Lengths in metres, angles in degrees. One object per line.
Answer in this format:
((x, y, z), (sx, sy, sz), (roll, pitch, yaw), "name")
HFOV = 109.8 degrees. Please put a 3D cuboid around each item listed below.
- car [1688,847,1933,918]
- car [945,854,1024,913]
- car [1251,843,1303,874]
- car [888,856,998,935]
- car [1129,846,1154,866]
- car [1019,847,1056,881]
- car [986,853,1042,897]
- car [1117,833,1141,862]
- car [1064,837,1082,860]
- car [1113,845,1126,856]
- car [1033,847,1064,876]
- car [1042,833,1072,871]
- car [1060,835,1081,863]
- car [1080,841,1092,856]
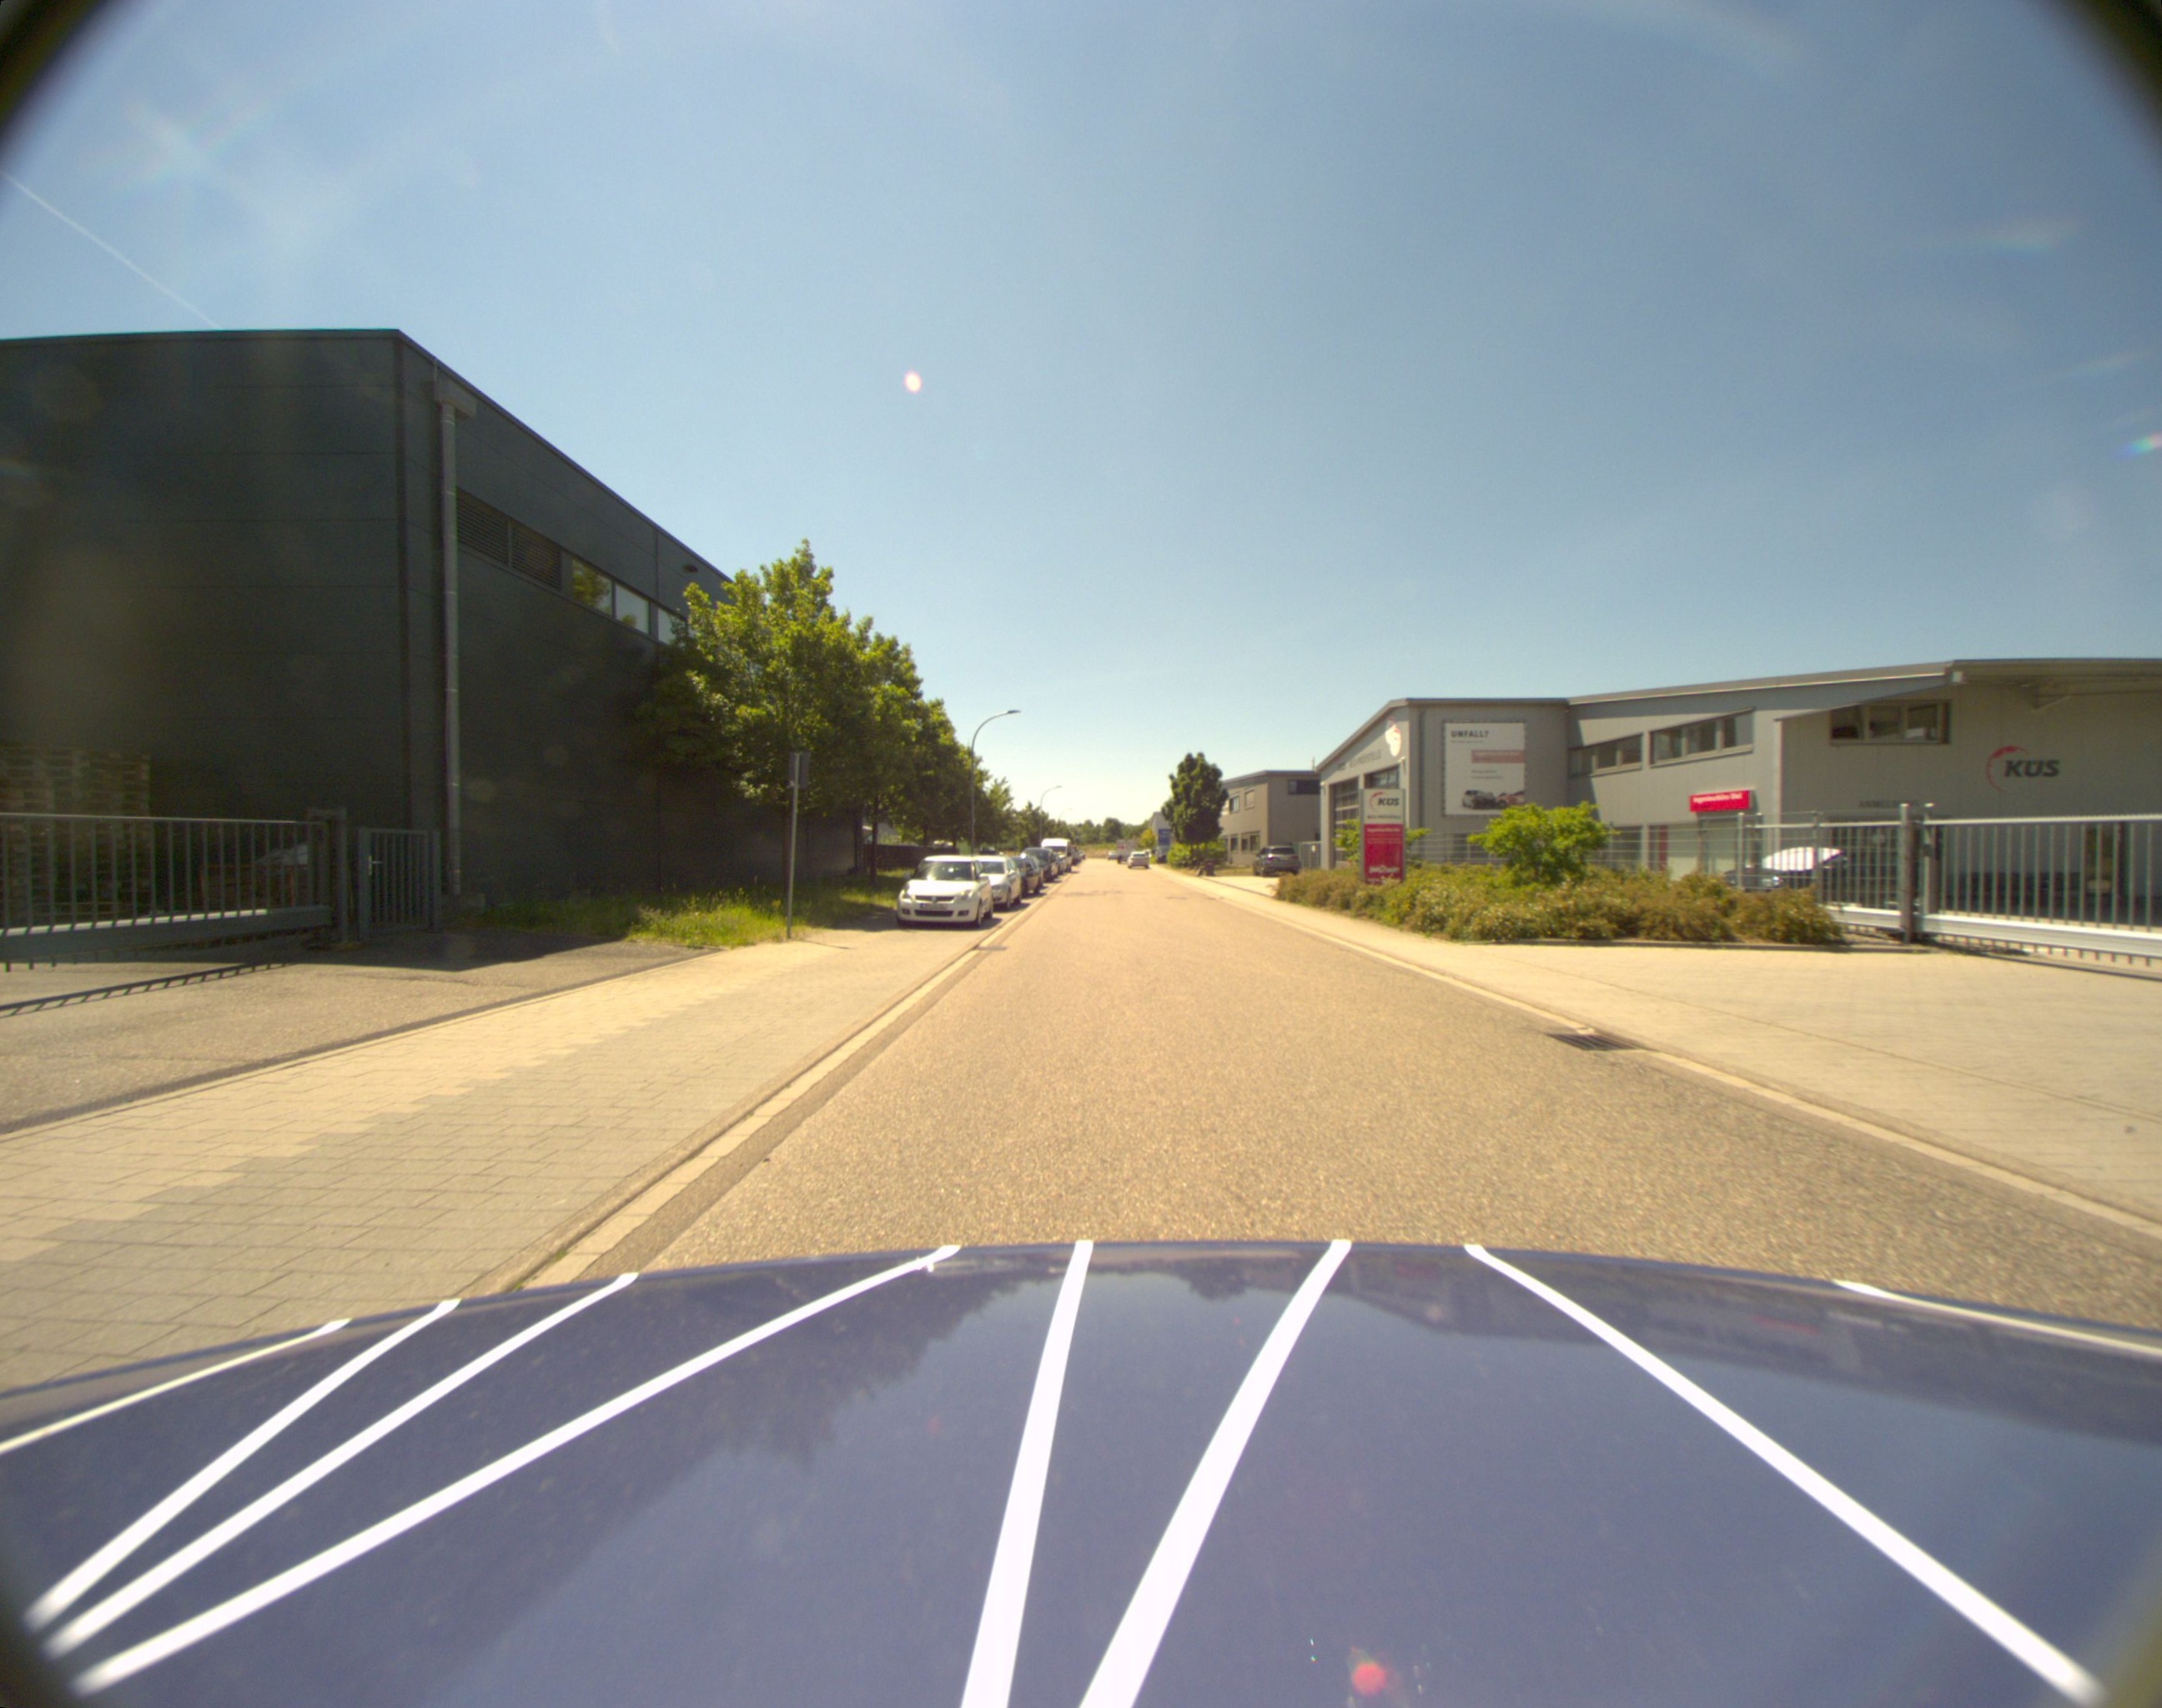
((15.442, 0.578, 16.203), (3.747, 1.434, 1.582), (0, 1, -2), "car")
((-2.676, 0.783, 21.804), (1.736, 1.501, 3.844), (0, 0, 0), "car")
((10.955, 0.217, 42.796), (1.998, 1.674, 4.000), (0, 1, 2), "car")
((-2.924, 0.821, 16.820), (1.736, 1.501, 3.665), (1, 1, 0), "car")
((5.323, 0.161, 67.242), (1.998, 1.674, 4.000), (0, 1, 2), "car")
((-2.256, 0.502, 40.314), (1.736, 1.684, 3.745), (0, 1, 0), "car")
((-2.453, 0.734, 28.402), (1.736, 1.501, 3.745), (0, 0, 0), "car")
((5.518, -0.755, 88.818), (2.600, 3.213, 6.222), (0, 1, 2), "car")
((-0.874, -0.633, 88.658), (2.060, 2.683, 4.834), (0, 1, 0), "car")
((5.841, -0.483, 115.992), (1.867, 1.674, 4.223), (0, 0, 2), "car")
((-1.961, 0.438, 47.208), (1.736, 1.684, 3.745), (0, 1, 0), "car")
((-1.781, -0.169, 57.141), (2.060, 2.683, 4.834), (0, 1, 0), "car")
((-1.004, -0.485, 75.714), (2.060, 2.683, 4.834), (0, 1, 0), "car")
((0.905, -0.944, 133.712), (2.060, 2.683, 4.834), (0, 1, 0), "car")
